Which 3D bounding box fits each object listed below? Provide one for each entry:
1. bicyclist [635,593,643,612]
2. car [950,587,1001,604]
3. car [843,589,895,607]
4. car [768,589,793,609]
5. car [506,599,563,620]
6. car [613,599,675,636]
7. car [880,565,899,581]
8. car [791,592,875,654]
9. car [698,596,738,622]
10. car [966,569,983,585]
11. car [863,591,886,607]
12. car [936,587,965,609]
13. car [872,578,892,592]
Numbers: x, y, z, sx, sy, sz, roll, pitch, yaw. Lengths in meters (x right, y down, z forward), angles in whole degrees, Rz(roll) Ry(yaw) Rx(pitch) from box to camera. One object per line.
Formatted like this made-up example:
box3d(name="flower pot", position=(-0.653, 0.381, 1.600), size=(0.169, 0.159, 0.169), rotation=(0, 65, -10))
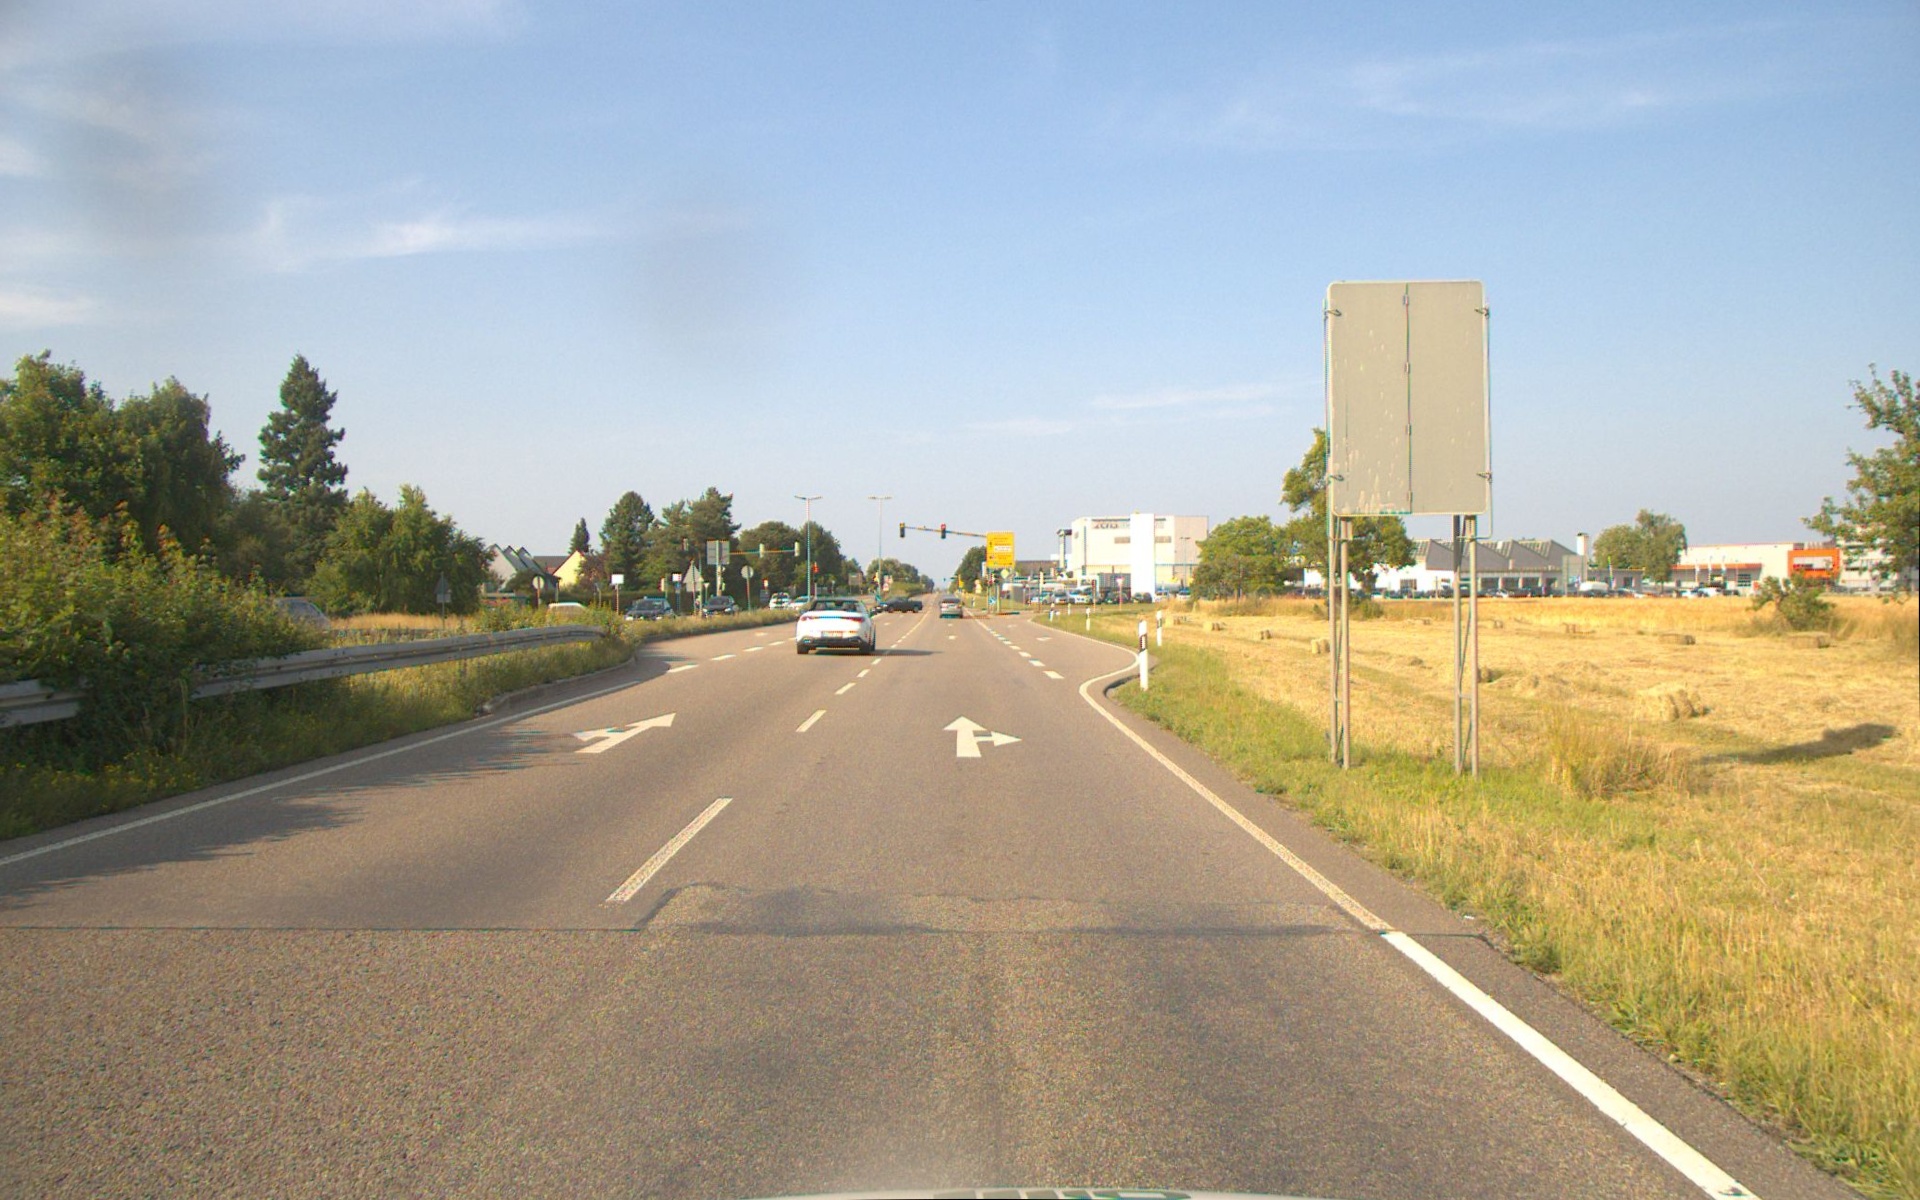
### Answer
box3d(name="bicyclist", position=(-23.521, 0.175, 121.262), size=(0.446, 1.375, 0.551), rotation=(-1, 0, -4))
box3d(name="car", position=(1.341, -0.369, 141.018), size=(3.929, 1.432, 1.942), rotation=(1, 0, -21))
box3d(name="car", position=(-7.561, -0.136, 137.997), size=(3.932, 1.432, 1.941), rotation=(1, 1, -23))
box3d(name="car", position=(-17.236, -0.087, 158.606), size=(1.907, 1.831, 4.000), rotation=(1, 1, 0))
box3d(name="car", position=(-33.226, 0.765, 129.240), size=(4.106, 1.548, 1.996), rotation=(1, 0, -9))
box3d(name="car", position=(-13.746, 0.751, 72.216), size=(1.953, 1.512, 4.226), rotation=(1, 1, -1))
box3d(name="car", position=(-8.110, -3.143, 190.815), size=(1.907, 1.803, 4.000), rotation=(1, 1, 0))
box3d(name="car", position=(-3.151, 0.538, 41.802), size=(1.871, 1.447, 3.999), rotation=(1, 1, -1))
box3d(name="car", position=(-13.871, 0.496, 94.914), size=(1.693, 1.432, 4.000), rotation=(1, 1, 0))
box3d(name="car", position=(1.683, -2.626, 191.002), size=(1.952, 1.787, 4.000), rotation=(1, 1, 1))
box3d(name="car", position=(-7.818, -0.092, 151.806), size=(1.907, 1.432, 4.000), rotation=(1, 1, 0))
box3d(name="car", position=(-0.674, -0.174, 116.474), size=(1.953, 1.512, 3.999), rotation=(1, 1, -1))
box3d(name="car", position=(-8.291, -1.621, 176.548), size=(1.907, 1.432, 4.000), rotation=(1, 1, 0))
